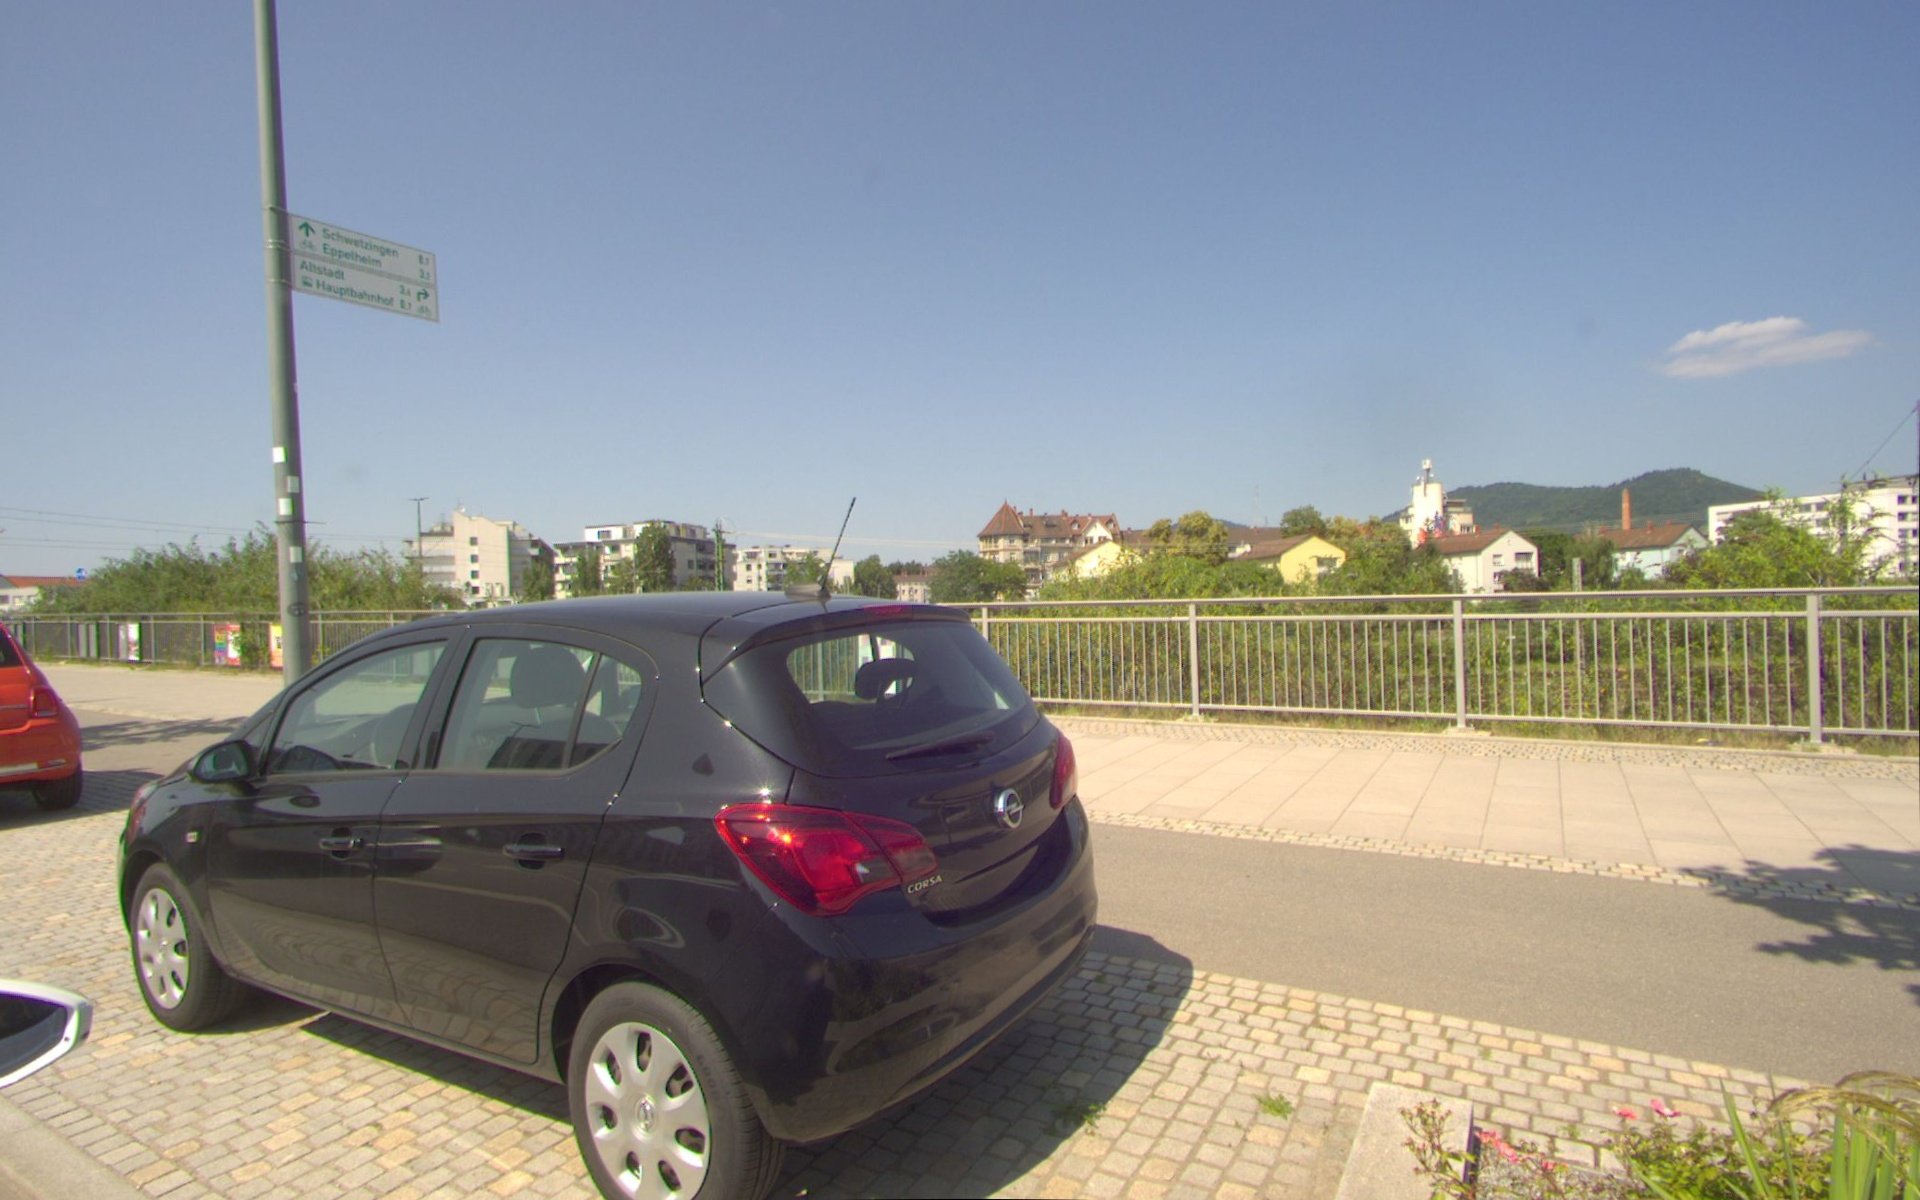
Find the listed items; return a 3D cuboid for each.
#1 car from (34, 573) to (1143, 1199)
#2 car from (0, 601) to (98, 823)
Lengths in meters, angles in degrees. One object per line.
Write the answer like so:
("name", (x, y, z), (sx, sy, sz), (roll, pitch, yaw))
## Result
("car", (-1.519, 0.704, 3.616), (3.943, 1.446, 1.656), (-1, 1, 32))
("car", (-8.170, 0.805, 7.592), (3.306, 1.517, 1.605), (-1, 2, 34))
